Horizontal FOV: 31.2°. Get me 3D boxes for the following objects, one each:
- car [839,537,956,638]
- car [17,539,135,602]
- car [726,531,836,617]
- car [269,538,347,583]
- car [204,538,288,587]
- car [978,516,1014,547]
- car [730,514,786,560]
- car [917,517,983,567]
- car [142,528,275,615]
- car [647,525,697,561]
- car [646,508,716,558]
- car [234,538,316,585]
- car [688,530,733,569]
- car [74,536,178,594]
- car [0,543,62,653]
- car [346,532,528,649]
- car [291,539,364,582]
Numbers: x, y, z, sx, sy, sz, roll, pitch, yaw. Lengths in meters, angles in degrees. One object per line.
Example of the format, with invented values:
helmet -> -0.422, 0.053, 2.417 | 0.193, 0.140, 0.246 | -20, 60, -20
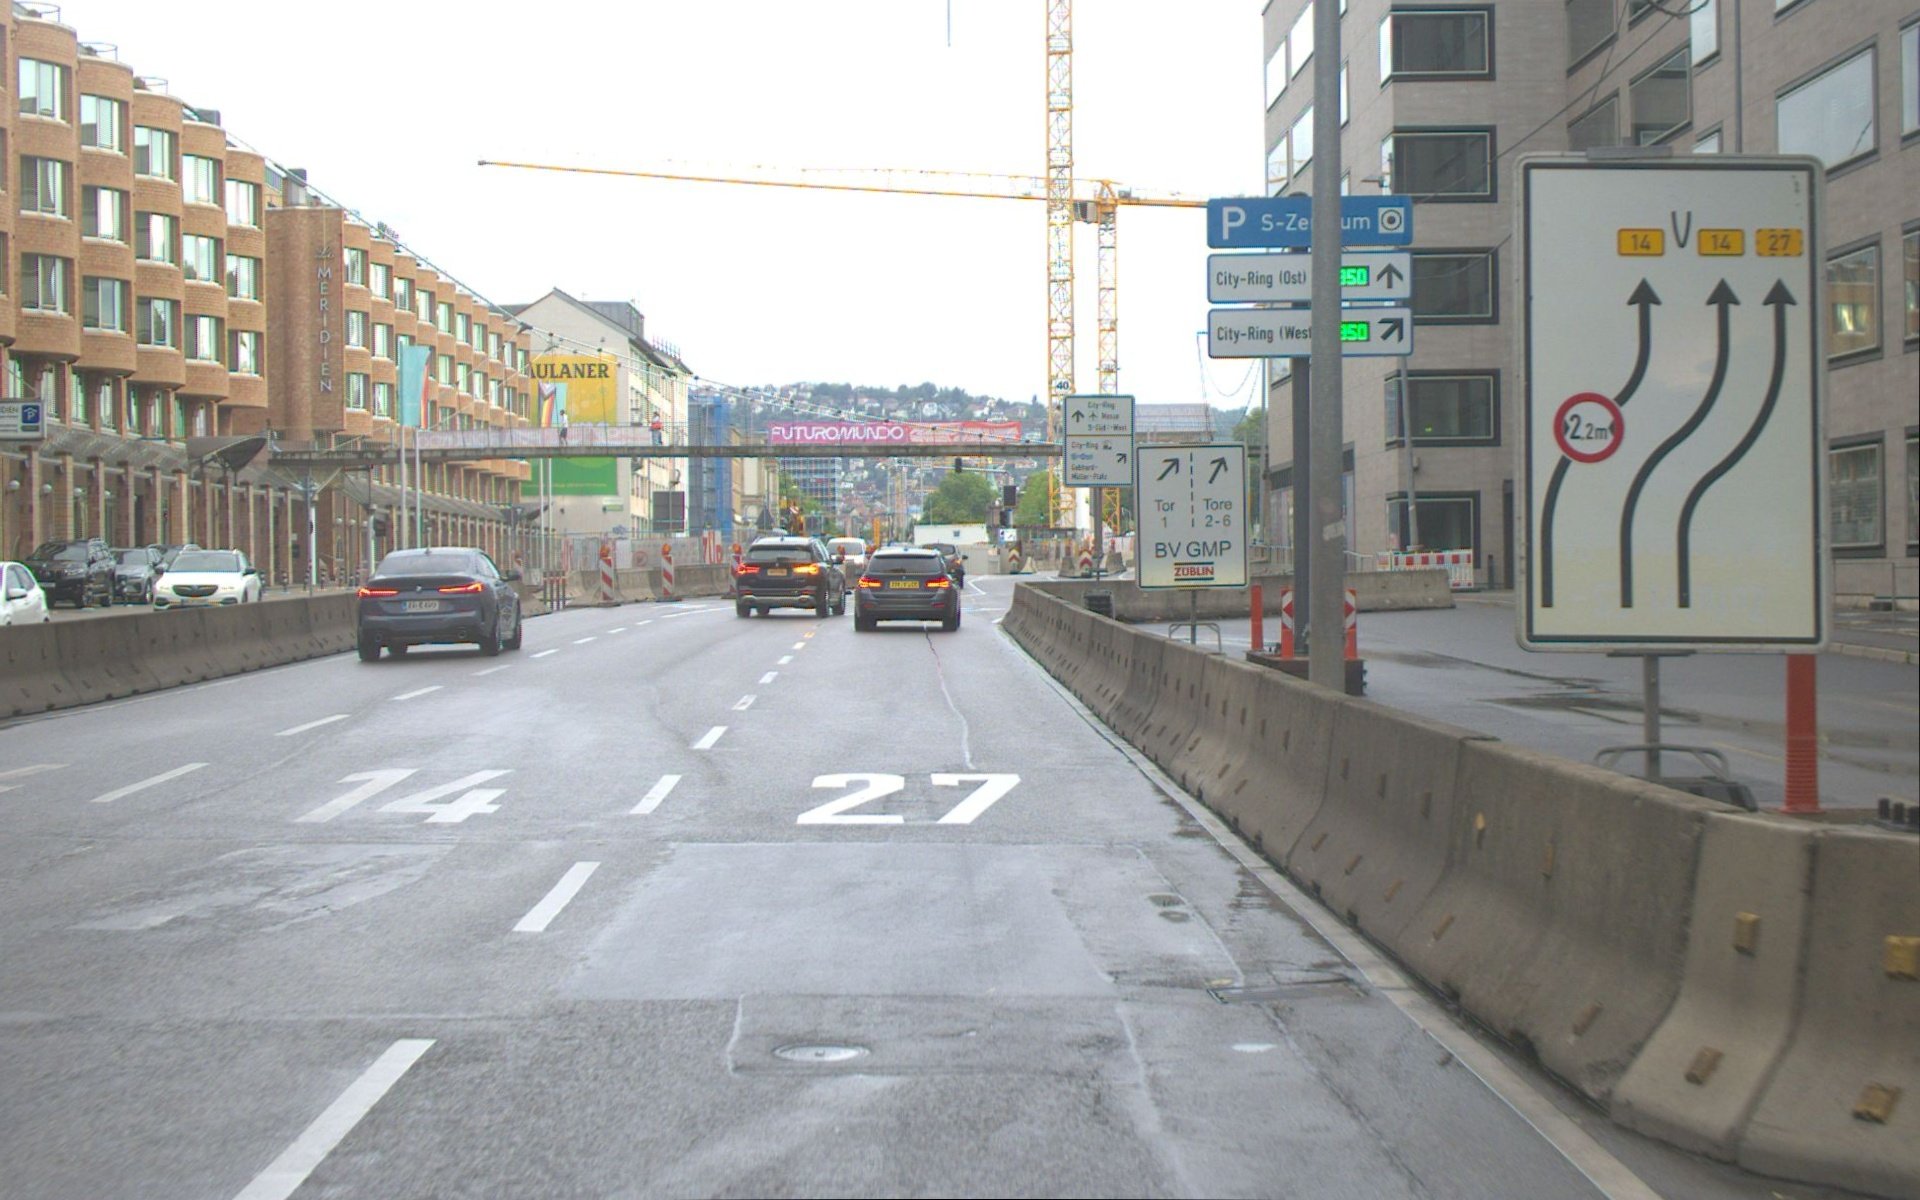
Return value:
car -> -1.077, -0.244, 61.373 | 1.900, 1.687, 4.000 | -2, 1, 1
car -> -24.057, -0.817, 93.716 | 1.993, 1.614, 4.763 | -2, 1, 0
car -> -3.685, -0.558, 71.427 | 1.900, 1.687, 4.000 | -1, 1, 2
car -> -24.438, -1.495, 128.997 | 1.993, 1.614, 4.690 | -2, 1, 0
car -> -24.453, -1.294, 117.871 | 1.993, 1.614, 4.318 | -2, 1, 0
car -> 2.099, -3.957, 198.879 | 1.900, 1.687, 4.000 | -1, 1, 2
car -> -8.191, -2.554, 139.729 | 1.993, 1.820, 4.763 | -2, 1, 0
car -> -0.333, -2.039, 120.739 | 1.900, 1.687, 3.999 | -1, 1, 5
car -> -15.624, -0.627, 71.685 | 1.820, 1.613, 4.192 | -2, 3, 0
car -> -13.888, -2.750, 165.941 | 1.993, 1.614, 4.763 | -2, 1, 0
car -> -9.569, -2.291, 118.347 | 1.993, 1.614, 4.763 | -2, 1, 0
car -> -24.503, -1.384, 123.109 | 1.993, 1.614, 4.690 | -2, 1, 0
car -> -13.258, -2.681, 182.930 | 1.993, 2.007, 4.000 | -2, 1, 1
car -> -24.461, -1.035, 101.011 | 1.993, 1.614, 4.318 | -2, 1, 0
car -> -14.158, -0.034, 49.296 | 1.602, 1.437, 3.658 | -2, 3, -1
car -> -6.849, -0.158, 45.420 | 1.790, 1.421, 4.385 | -2, 1, -1
car -> -24.812, -1.564, 134.960 | 1.993, 1.614, 4.690 | -2, 1, 0
